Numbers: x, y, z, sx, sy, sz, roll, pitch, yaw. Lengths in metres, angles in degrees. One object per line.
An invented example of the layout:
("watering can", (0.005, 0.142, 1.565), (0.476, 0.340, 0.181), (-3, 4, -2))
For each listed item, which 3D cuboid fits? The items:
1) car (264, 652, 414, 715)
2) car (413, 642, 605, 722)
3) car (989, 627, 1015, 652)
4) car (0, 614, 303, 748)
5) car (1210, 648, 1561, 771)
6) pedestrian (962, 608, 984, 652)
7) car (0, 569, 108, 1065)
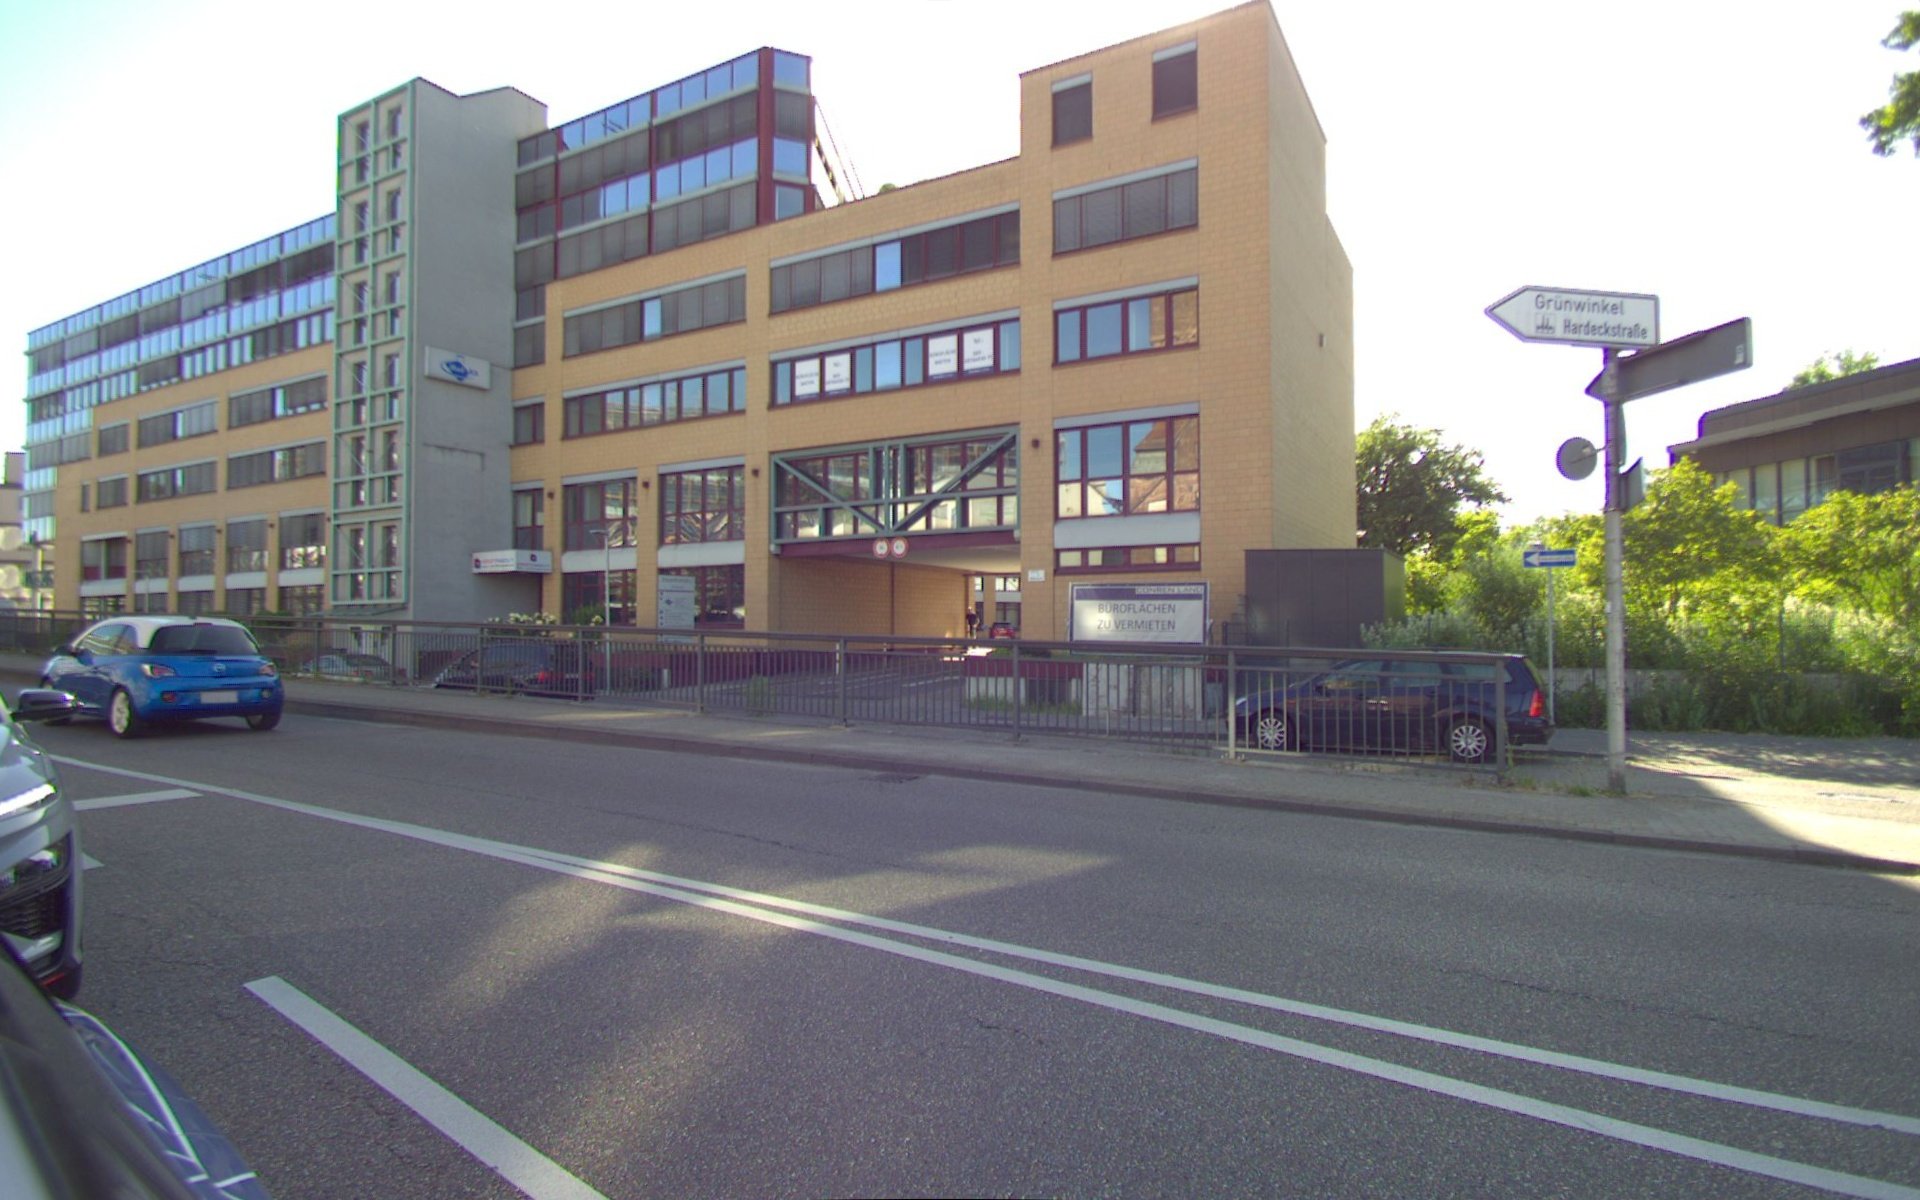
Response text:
("car", (-17.720, 2.313, 28.843), (4.340, 1.616, 1.807), (-1, -3, 30))
("car", (-11.132, 1.931, 24.922), (4.667, 1.771, 1.938), (-1, -1, 29))
("car", (2.774, 2.605, 66.709), (1.621, 1.586, 3.150), (-1, -2, 2))
("car", (-10.903, 0.969, 13.441), (4.433, 1.515, 1.807), (0, -2, 30))
("car", (6.078, 1.468, 14.672), (4.438, 1.515, 1.805), (-2, -3, 33))
("pedestrian", (0.568, 1.297, 43.426), (0.676, 1.858, 0.779), (-2, -3, 28))
("car", (-5.098, 0.701, 4.060), (4.217, 1.582, 1.826), (-1, -1, 39))
